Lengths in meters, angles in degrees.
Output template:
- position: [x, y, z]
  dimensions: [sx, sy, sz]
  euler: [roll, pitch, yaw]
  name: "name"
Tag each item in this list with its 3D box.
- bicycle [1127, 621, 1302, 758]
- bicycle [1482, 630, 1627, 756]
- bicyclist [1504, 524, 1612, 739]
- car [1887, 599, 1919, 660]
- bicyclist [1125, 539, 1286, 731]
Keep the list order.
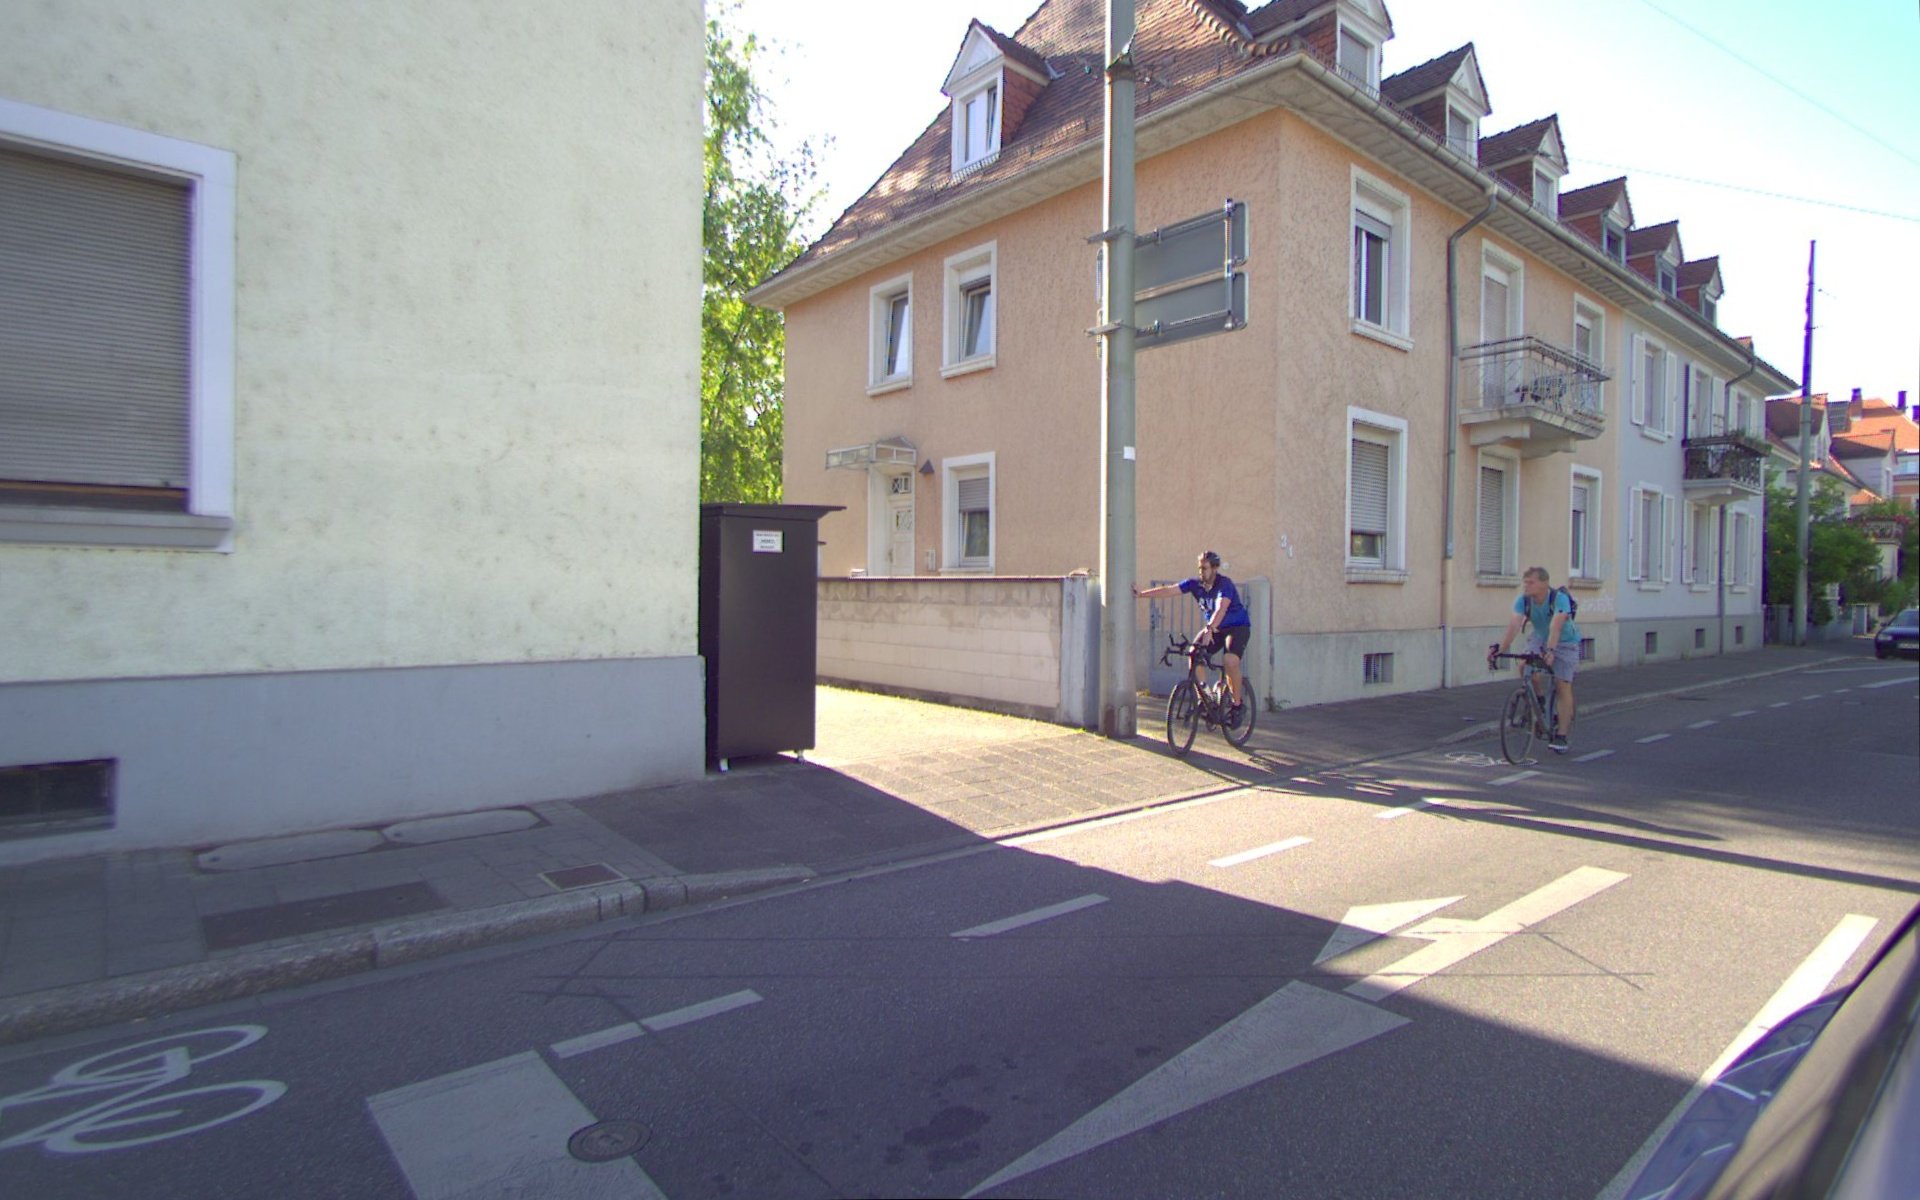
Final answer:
- position: [2.379, 0.775, 9.353]
  dimensions: [1.744, 1.081, 0.592]
  euler: [0, 5, -41]
  name: "bicycle"
- position: [5.736, 0.865, 9.721]
  dimensions: [1.761, 1.105, 0.519]
  euler: [3, -1, -36]
  name: "bicycle"
- position: [5.748, 0.304, 9.723]
  dimensions: [0.928, 1.959, 0.519]
  euler: [4, -2, -36]
  name: "bicyclist"
- position: [26.702, 0.755, 27.368]
  dimensions: [3.742, 1.601, 1.696]
  euler: [0, -1, -36]
  name: "car"
- position: [2.300, 0.288, 9.537]
  dimensions: [0.870, 1.627, 1.052]
  euler: [1, 5, -41]
  name: "bicyclist"
